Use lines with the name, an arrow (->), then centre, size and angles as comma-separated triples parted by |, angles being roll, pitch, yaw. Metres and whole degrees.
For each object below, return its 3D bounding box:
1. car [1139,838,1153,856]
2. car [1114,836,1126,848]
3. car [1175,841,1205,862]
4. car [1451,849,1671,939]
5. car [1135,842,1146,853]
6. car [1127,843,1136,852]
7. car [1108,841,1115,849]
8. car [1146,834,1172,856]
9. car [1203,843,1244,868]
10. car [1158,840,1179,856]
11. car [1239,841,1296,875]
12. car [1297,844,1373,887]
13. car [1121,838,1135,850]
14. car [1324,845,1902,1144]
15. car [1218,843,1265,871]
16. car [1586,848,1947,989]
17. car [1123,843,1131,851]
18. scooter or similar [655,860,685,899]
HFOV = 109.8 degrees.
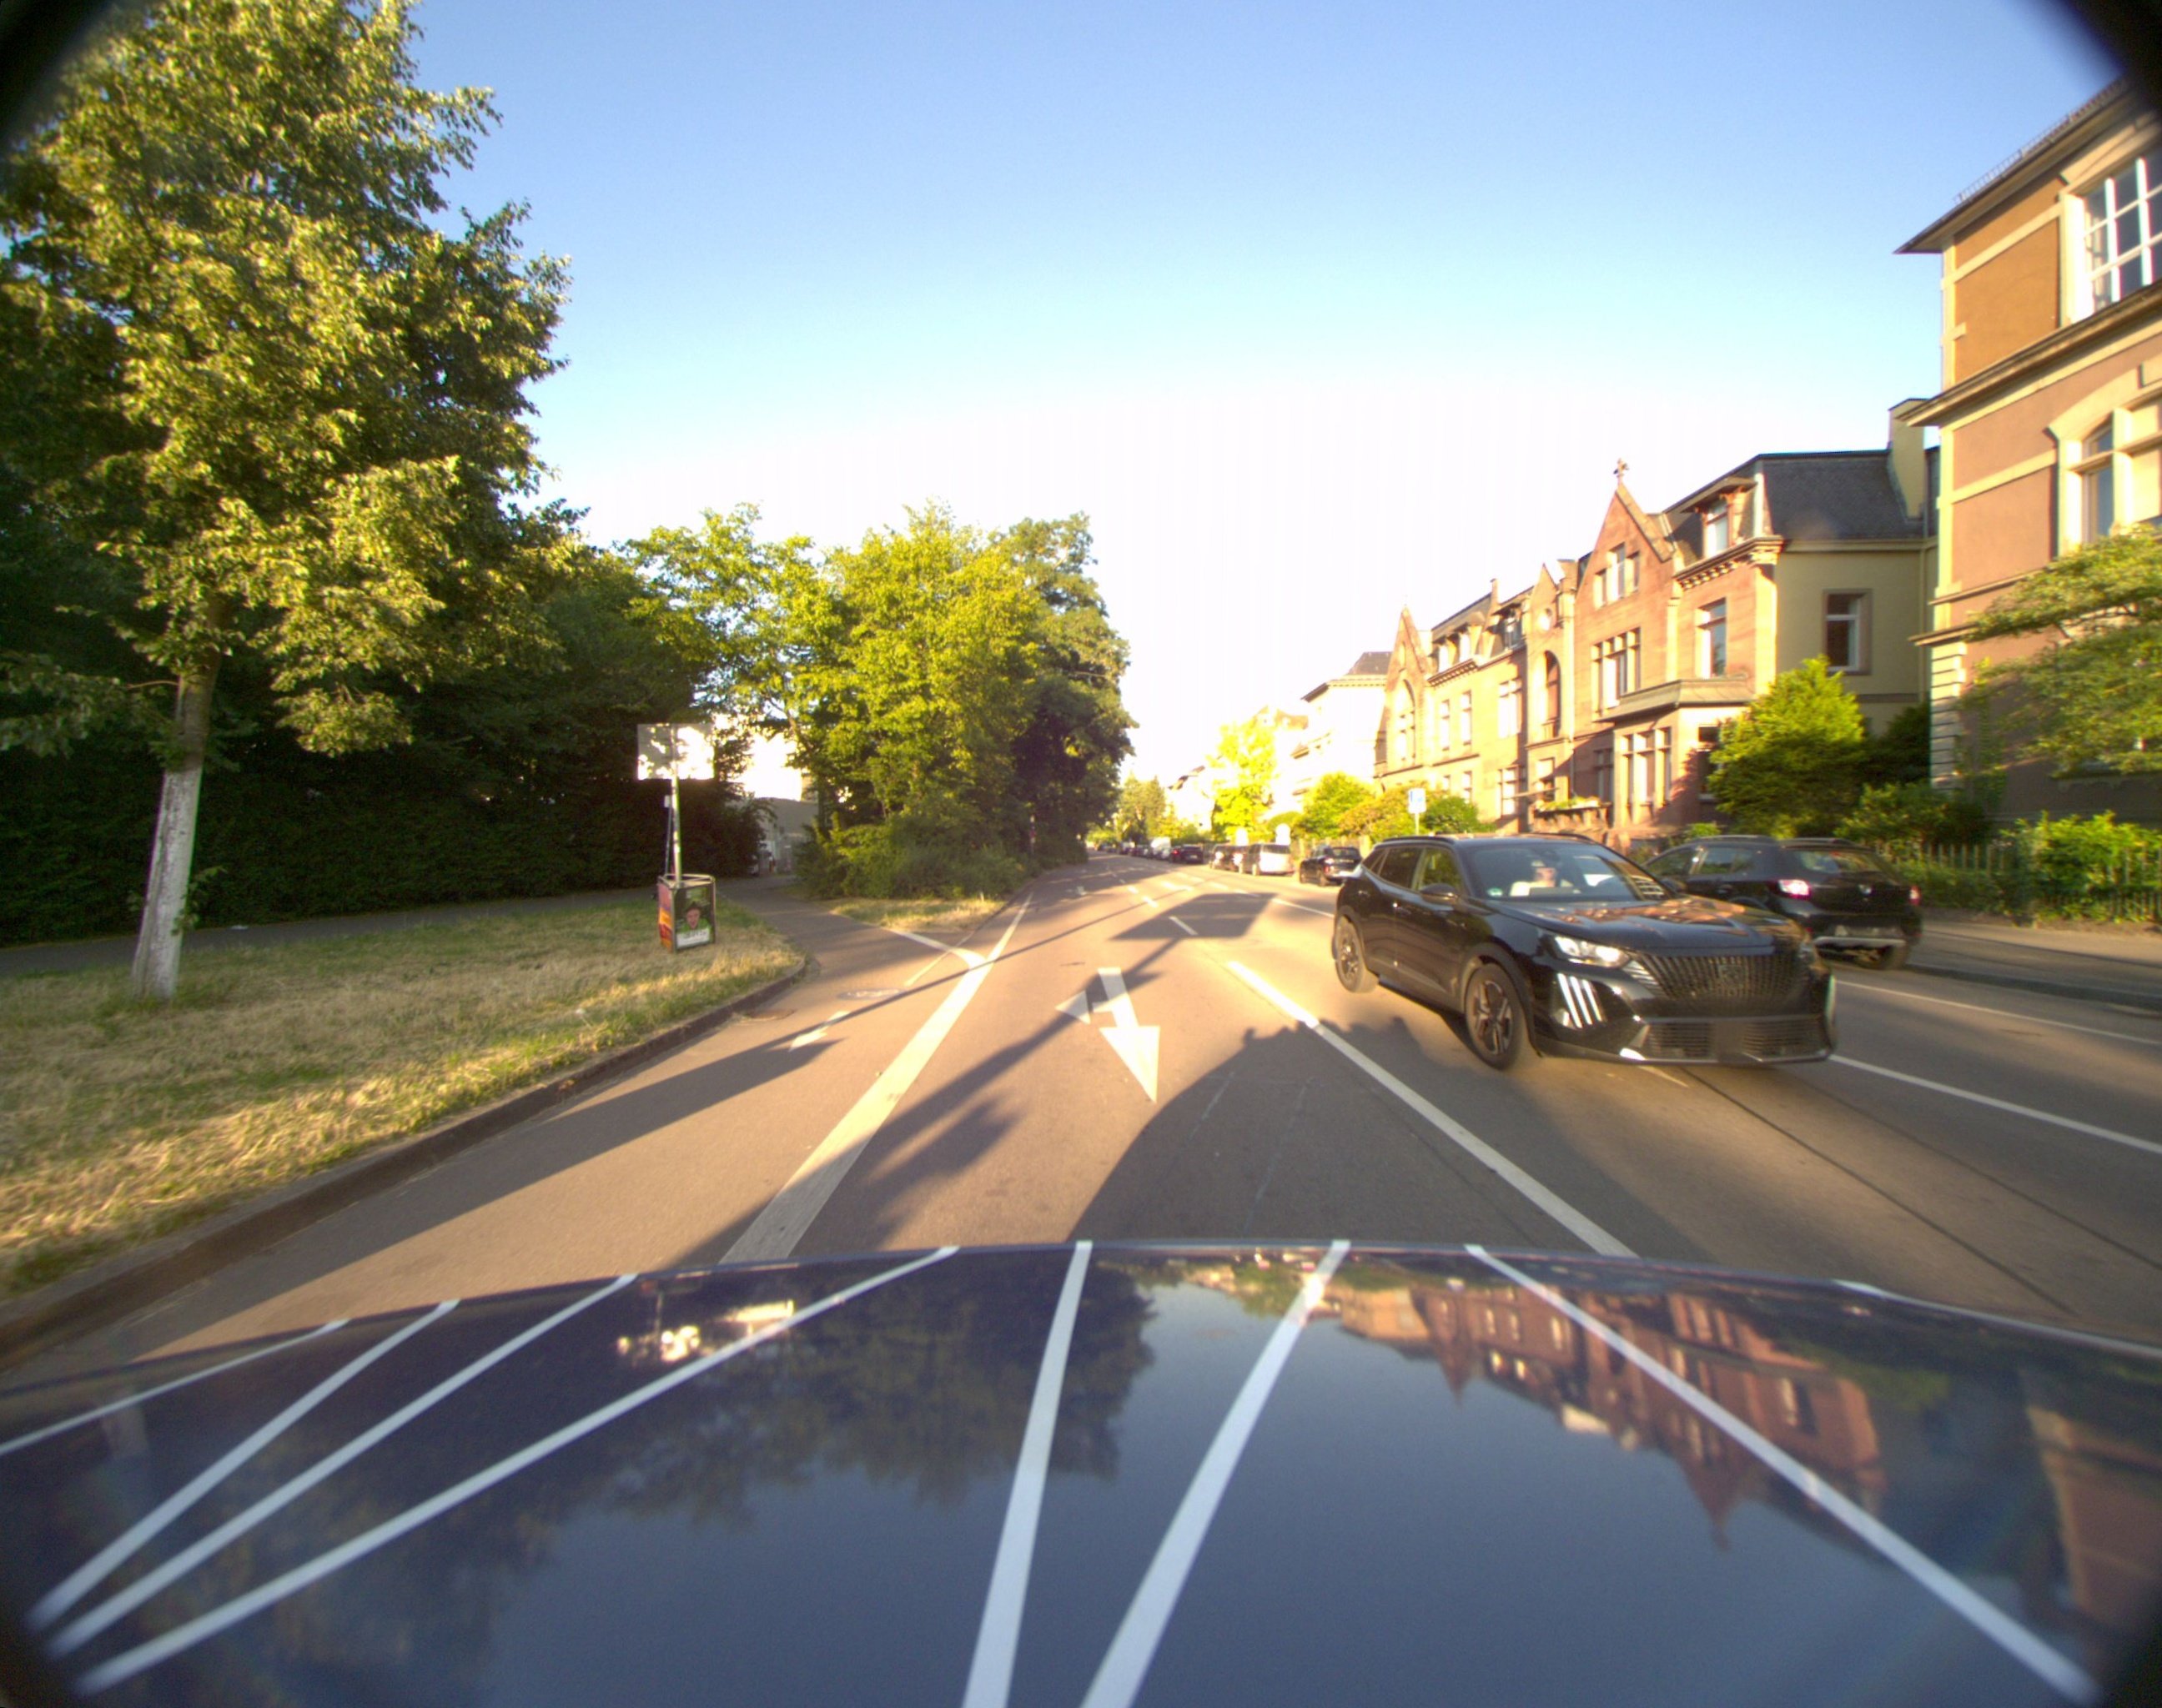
car -> 8.310, -0.899, 97.469 | 1.571, 2.253, 3.799 | 0, 1, 0
car -> 8.239, -2.561, 160.493 | 1.999, 2.443, 5.578 | -1, 1, -1
car -> 8.666, -0.226, 60.784 | 1.880, 1.596, 3.722 | 0, 1, 0
car -> 9.143, 0.663, 14.998 | 1.608, 1.435, 4.432 | 2, 1, 2
car -> 8.416, -0.928, 107.321 | 1.327, 1.430, 2.697 | 0, 1, 0
car -> 7.945, -1.051, 119.880 | 1.220, 1.430, 2.514 | 0, 1, 0
car -> 8.358, -2.485, 208.803 | 1.998, 2.002, 3.999 | -1, 1, 0
car -> 8.700, -1.025, 84.972 | 2.231, 2.356, 5.877 | 0, 1, -1
car -> 8.674, 0.048, 46.565 | 1.716, 1.442, 3.721 | 0, 1, -2
car -> 9.016, -0.640, 78.309 | 1.715, 1.596, 3.853 | 0, 1, 0
car -> 8.971, 0.149, 36.837 | 1.716, 1.579, 3.752 | 0, 1, -2
car -> 9.080, 0.378, 27.445 | 1.631, 1.437, 3.566 | 0, 1, 2
car -> 8.357, -1.778, 135.800 | 2.203, 2.201, 4.526 | 0, 1, 0
car -> 3.404, 0.708, 5.945 | 1.682, 1.527, 3.999 | -1, 1, -1
car -> 8.793, 0.129, 41.877 | 1.716, 1.442, 3.721 | 0, 1, -2
car -> 9.018, 0.715, 10.494 | 1.631, 1.526, 3.723 | 2, 1, 2
car -> 7.923, -1.188, 130.166 | 1.220, 1.430, 2.514 | 0, 1, 0
scooter or similar -> -11.930, 0.730, 22.049 | 0.194, 1.079, 0.837 | -2, 0, 15
